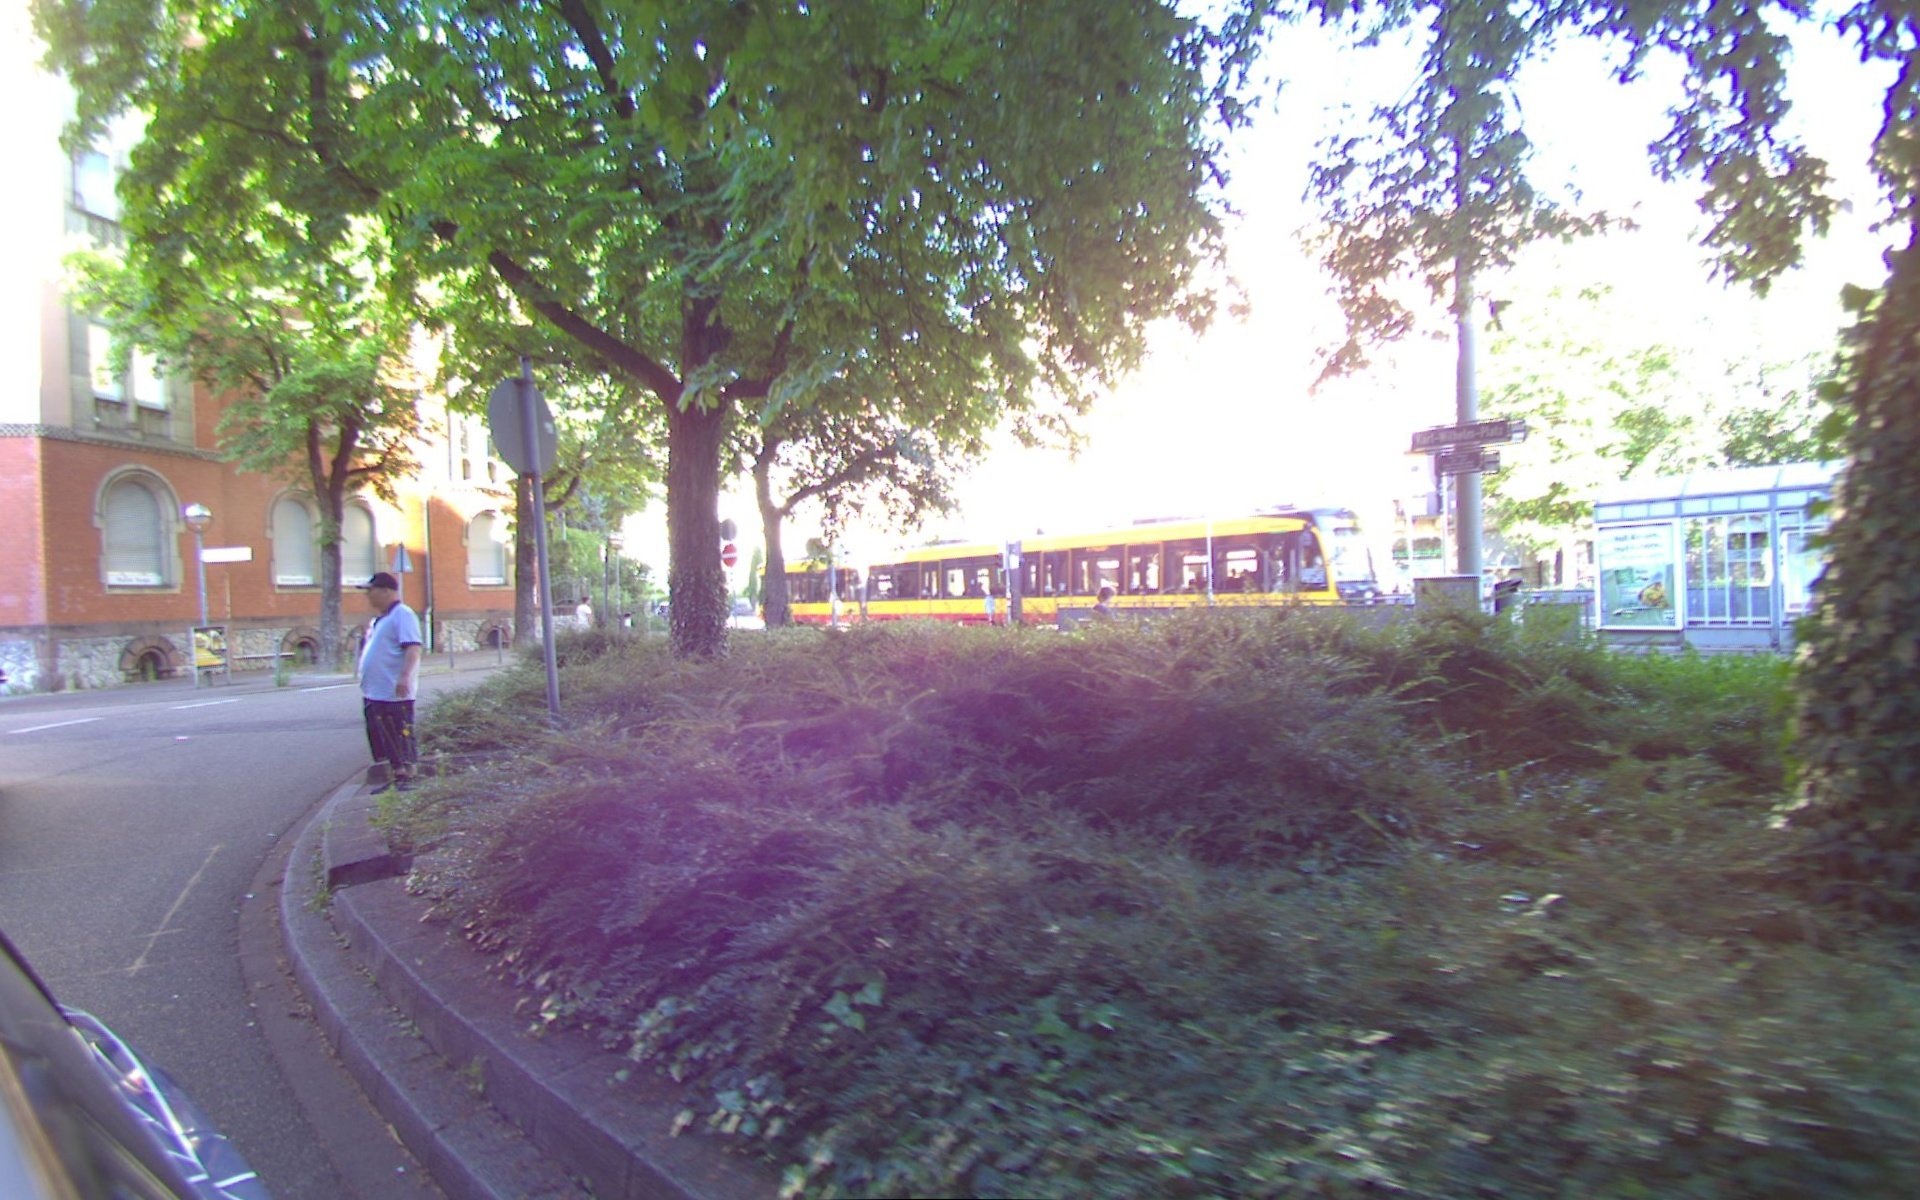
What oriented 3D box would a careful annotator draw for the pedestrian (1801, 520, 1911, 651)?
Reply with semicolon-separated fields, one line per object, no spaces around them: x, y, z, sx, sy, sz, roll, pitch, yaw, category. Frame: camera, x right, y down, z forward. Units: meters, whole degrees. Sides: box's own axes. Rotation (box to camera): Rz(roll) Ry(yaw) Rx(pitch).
13.633;-0.220;15.416;0.897;1.911;1.022;-2;0;-34;pedestrian

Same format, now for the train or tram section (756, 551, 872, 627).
-7.583;-0.540;51.763;2.924;3.533;7.208;-3;1;-34;train or tram section

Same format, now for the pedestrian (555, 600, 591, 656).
-12.012;0.860;31.411;0.846;1.655;0.872;-2;0;-31;pedestrian

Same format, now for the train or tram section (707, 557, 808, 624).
-11.648;-0.525;57.712;2.924;3.533;7.208;-3;1;-34;train or tram section

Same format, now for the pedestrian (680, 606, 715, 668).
-7.100;0.986;27.396;0.841;1.617;0.603;-2;0;-13;pedestrian

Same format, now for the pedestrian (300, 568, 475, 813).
-4.265;0.639;7.614;0.768;1.696;0.919;-2;0;-3;pedestrian

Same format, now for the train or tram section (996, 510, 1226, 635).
4.723;-0.779;33.595;2.873;3.641;7.880;-2;0;-34;train or tram section

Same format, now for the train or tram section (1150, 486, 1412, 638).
8.621;-0.912;27.920;2.873;3.668;6.363;-2;0;-34;train or tram section

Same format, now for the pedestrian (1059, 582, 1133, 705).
1.960;0.606;14.541;0.813;1.696;0.893;-2;0;21;pedestrian

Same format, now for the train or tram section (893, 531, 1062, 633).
0.502;-0.630;39.841;2.885;3.626;7.208;-3;1;-34;train or tram section

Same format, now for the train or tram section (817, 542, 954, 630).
-3.520;-0.609;45.794;2.890;3.617;7.208;-3;1;-34;train or tram section

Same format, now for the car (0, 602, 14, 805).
-7.973;0.831;6.954;1.896;1.618;4.524;-2;0;-40;car

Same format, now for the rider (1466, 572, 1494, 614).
21.038;-0.292;40.967;0.661;1.694;0.822;-2;2;-3;rider
